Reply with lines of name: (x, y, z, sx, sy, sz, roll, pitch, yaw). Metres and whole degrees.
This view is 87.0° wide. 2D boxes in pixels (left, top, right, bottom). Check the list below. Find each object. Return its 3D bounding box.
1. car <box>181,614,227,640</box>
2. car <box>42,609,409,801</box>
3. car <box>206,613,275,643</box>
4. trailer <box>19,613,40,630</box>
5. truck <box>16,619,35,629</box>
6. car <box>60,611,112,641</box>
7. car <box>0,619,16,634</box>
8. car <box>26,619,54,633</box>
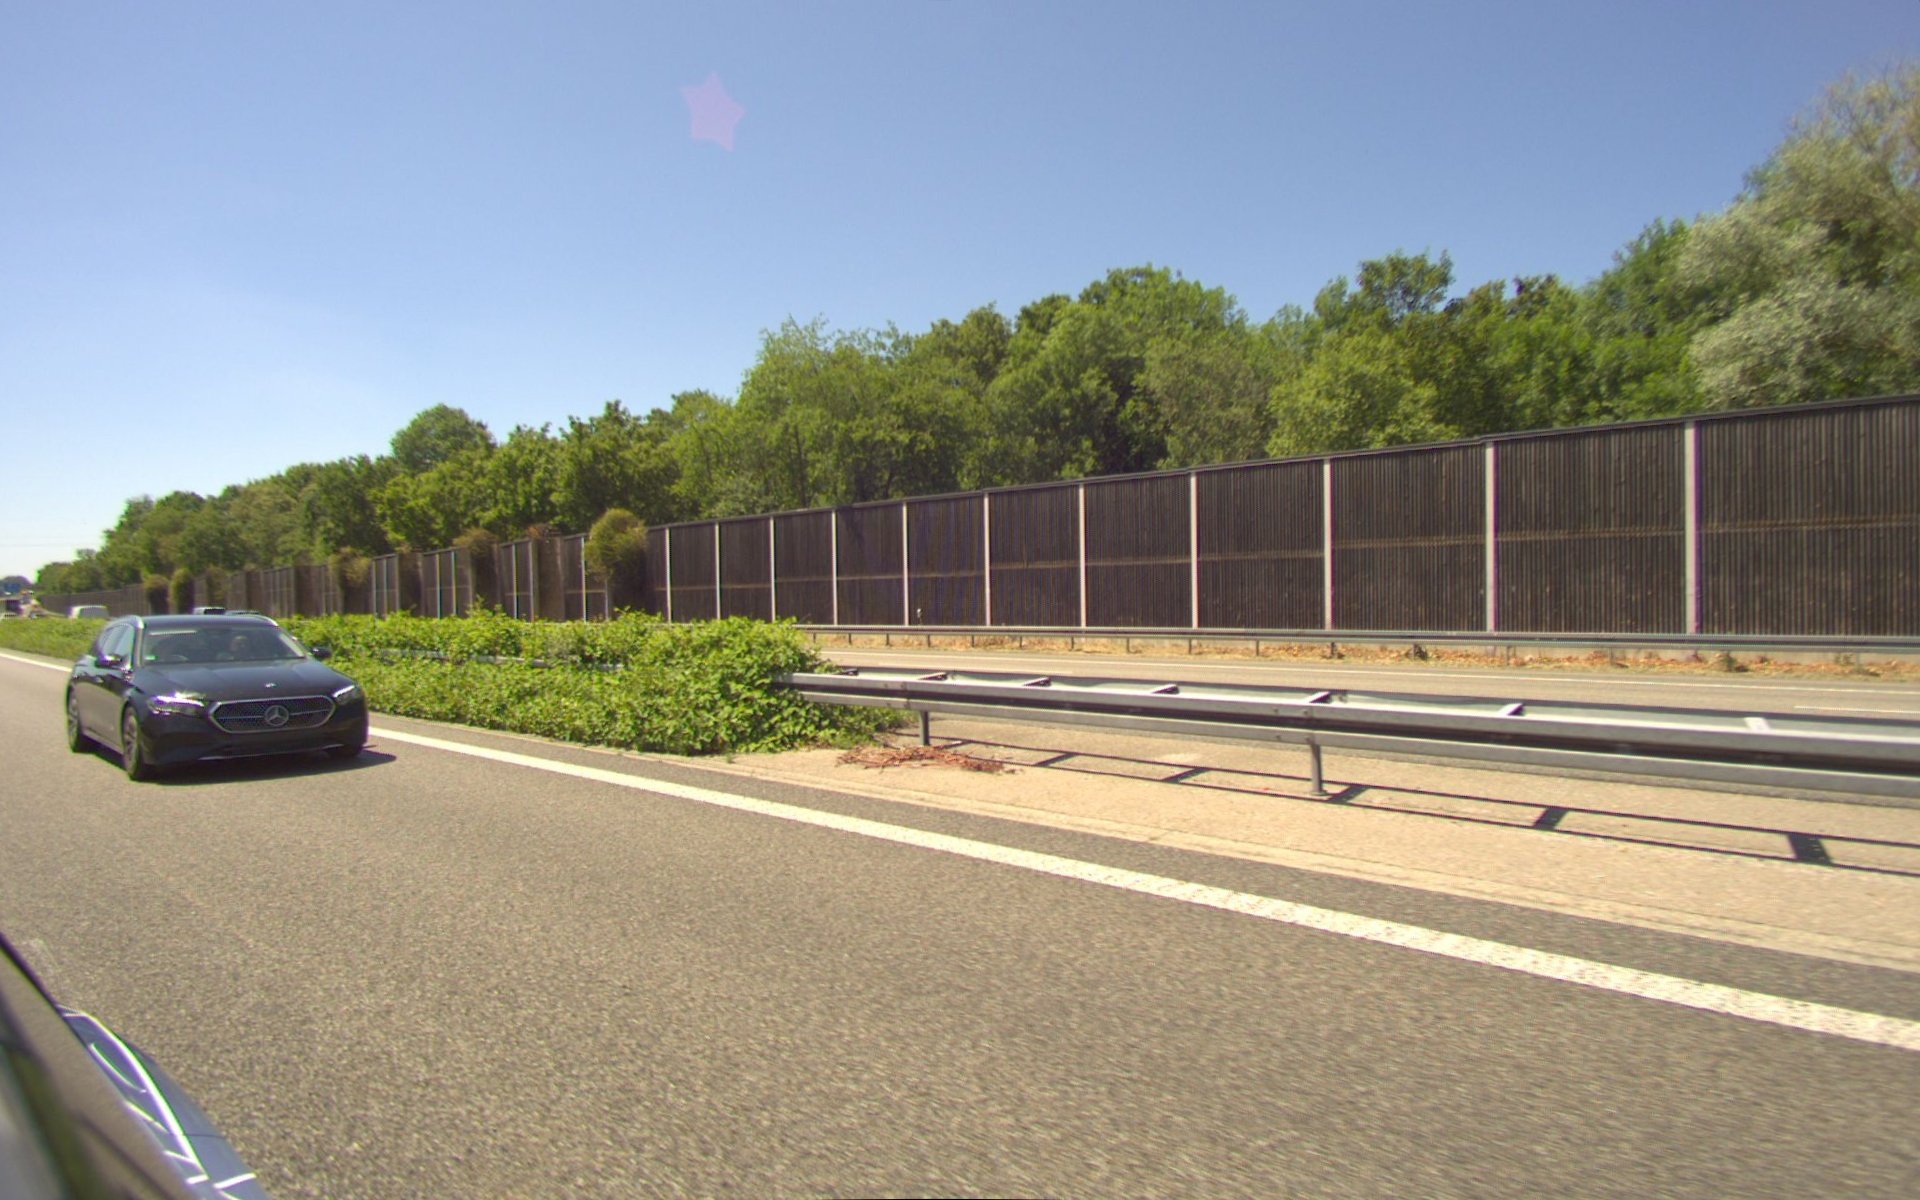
car: (-60.310, 2.123, 80.732, 5.384, 2.029, 1.972, -1, -1, 42)
car: (-8.000, 0.885, 10.719, 5.818, 1.518, 1.923, -1, -1, 41)
car: (-41.451, 1.595, 58.283, 5.583, 1.656, 1.973, -1, -1, 41)
trailer: (-161.174, 3.675, 175.268, 6.510, 2.797, 2.218, -1, -1, 43)
truck: (-165.791, 4.269, 179.614, 6.212, 1.830, 2.078, -1, -1, 44)
car: (-60.559, 1.783, 70.125, 5.343, 2.029, 1.973, -1, -1, 41)
car: (-109.229, 2.973, 115.340, 5.042, 1.660, 1.973, -1, -1, 41)
car: (-113.852, 3.248, 125.207, 4.688, 1.660, 1.974, -1, -1, 40)
